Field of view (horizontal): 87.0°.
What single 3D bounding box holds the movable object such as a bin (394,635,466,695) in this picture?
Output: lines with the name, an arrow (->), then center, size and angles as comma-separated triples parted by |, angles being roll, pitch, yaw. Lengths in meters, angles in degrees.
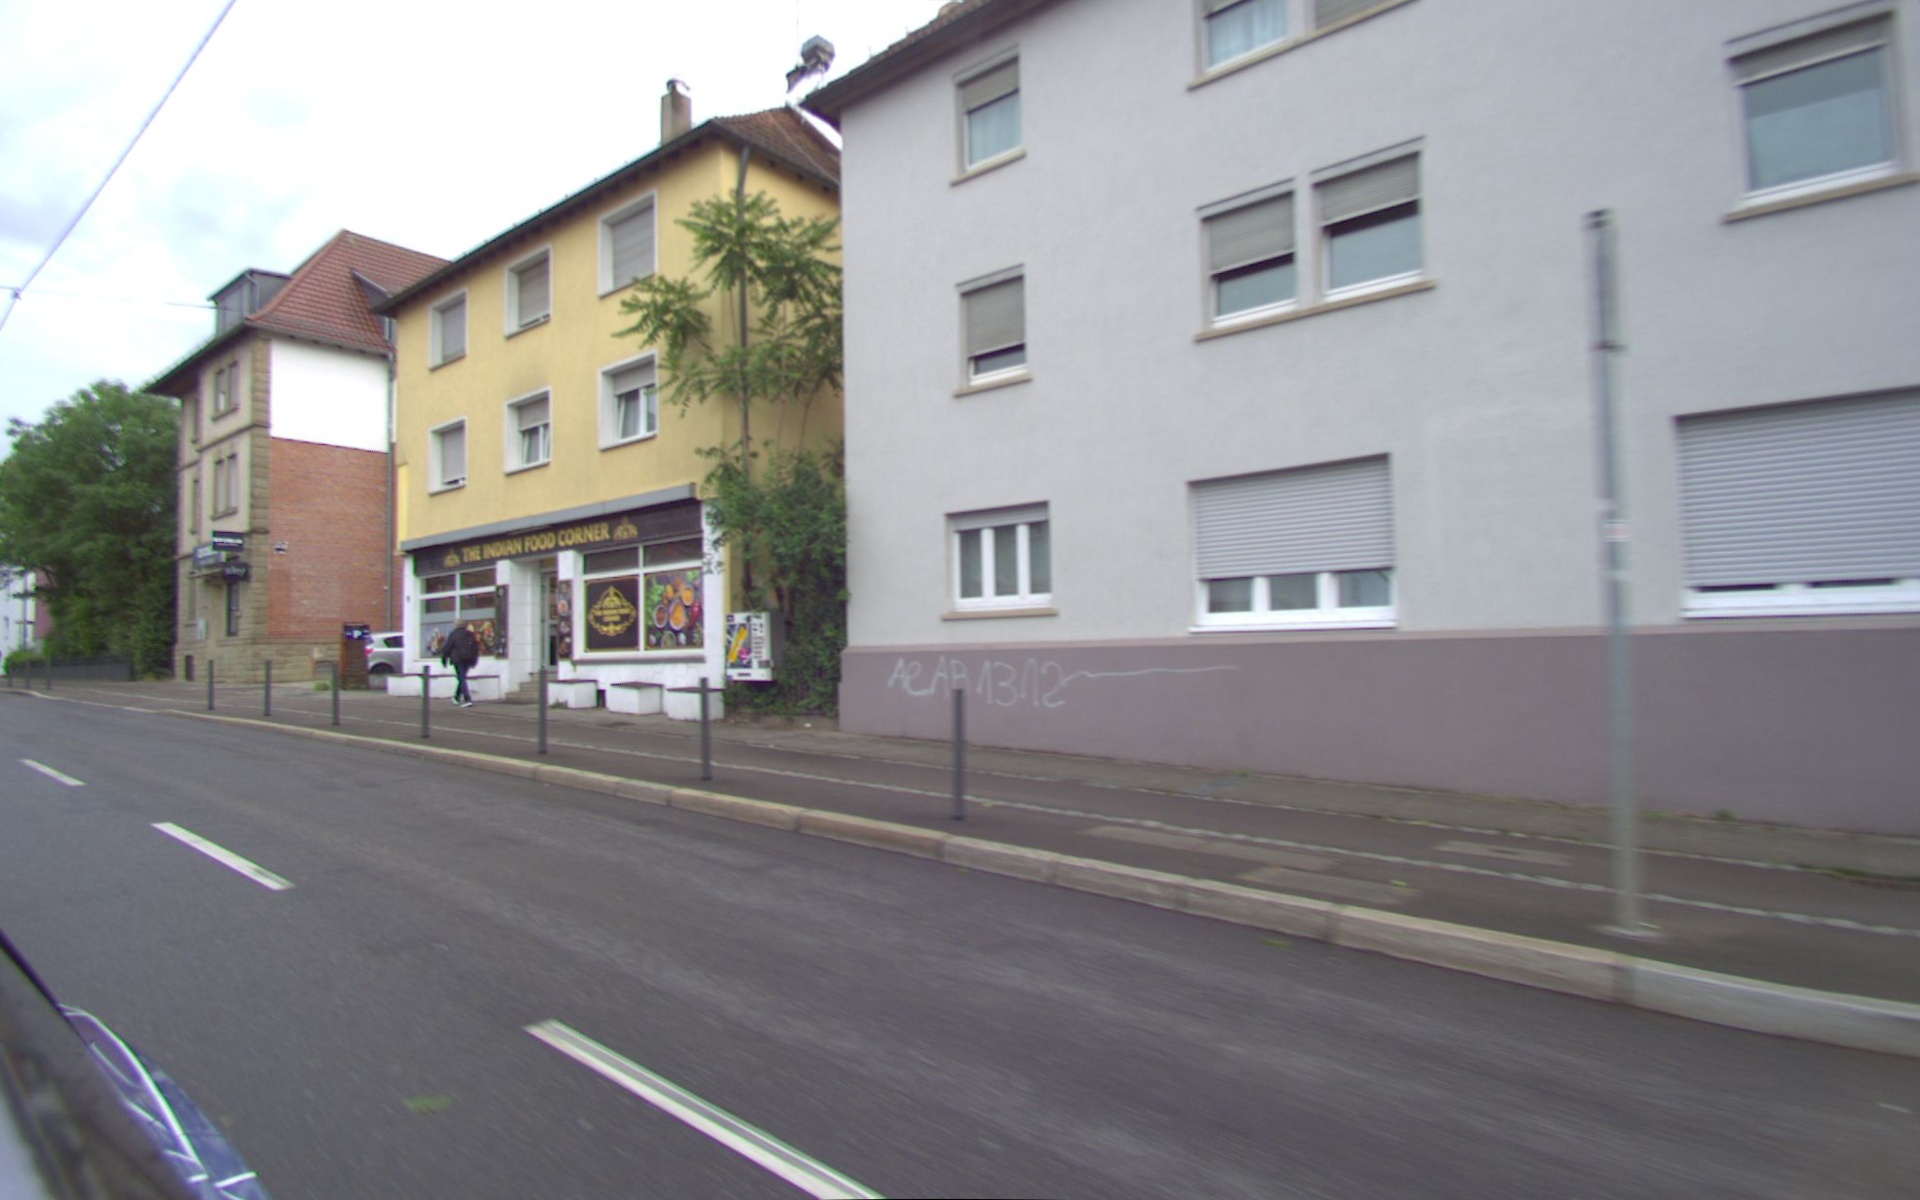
movable object such as a bin -> -13.052, 1.595, 24.924 | 0.982, 1.413, 1.288 | -3, -3, 39

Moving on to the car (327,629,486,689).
car -> -15.860, 1.664, 29.109 | 1.944, 1.497, 3.531 | -3, -1, 38

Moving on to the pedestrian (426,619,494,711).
pedestrian -> -9.565, 1.226, 19.360 | 0.991, 1.692, 0.808 | -1, -1, 37
